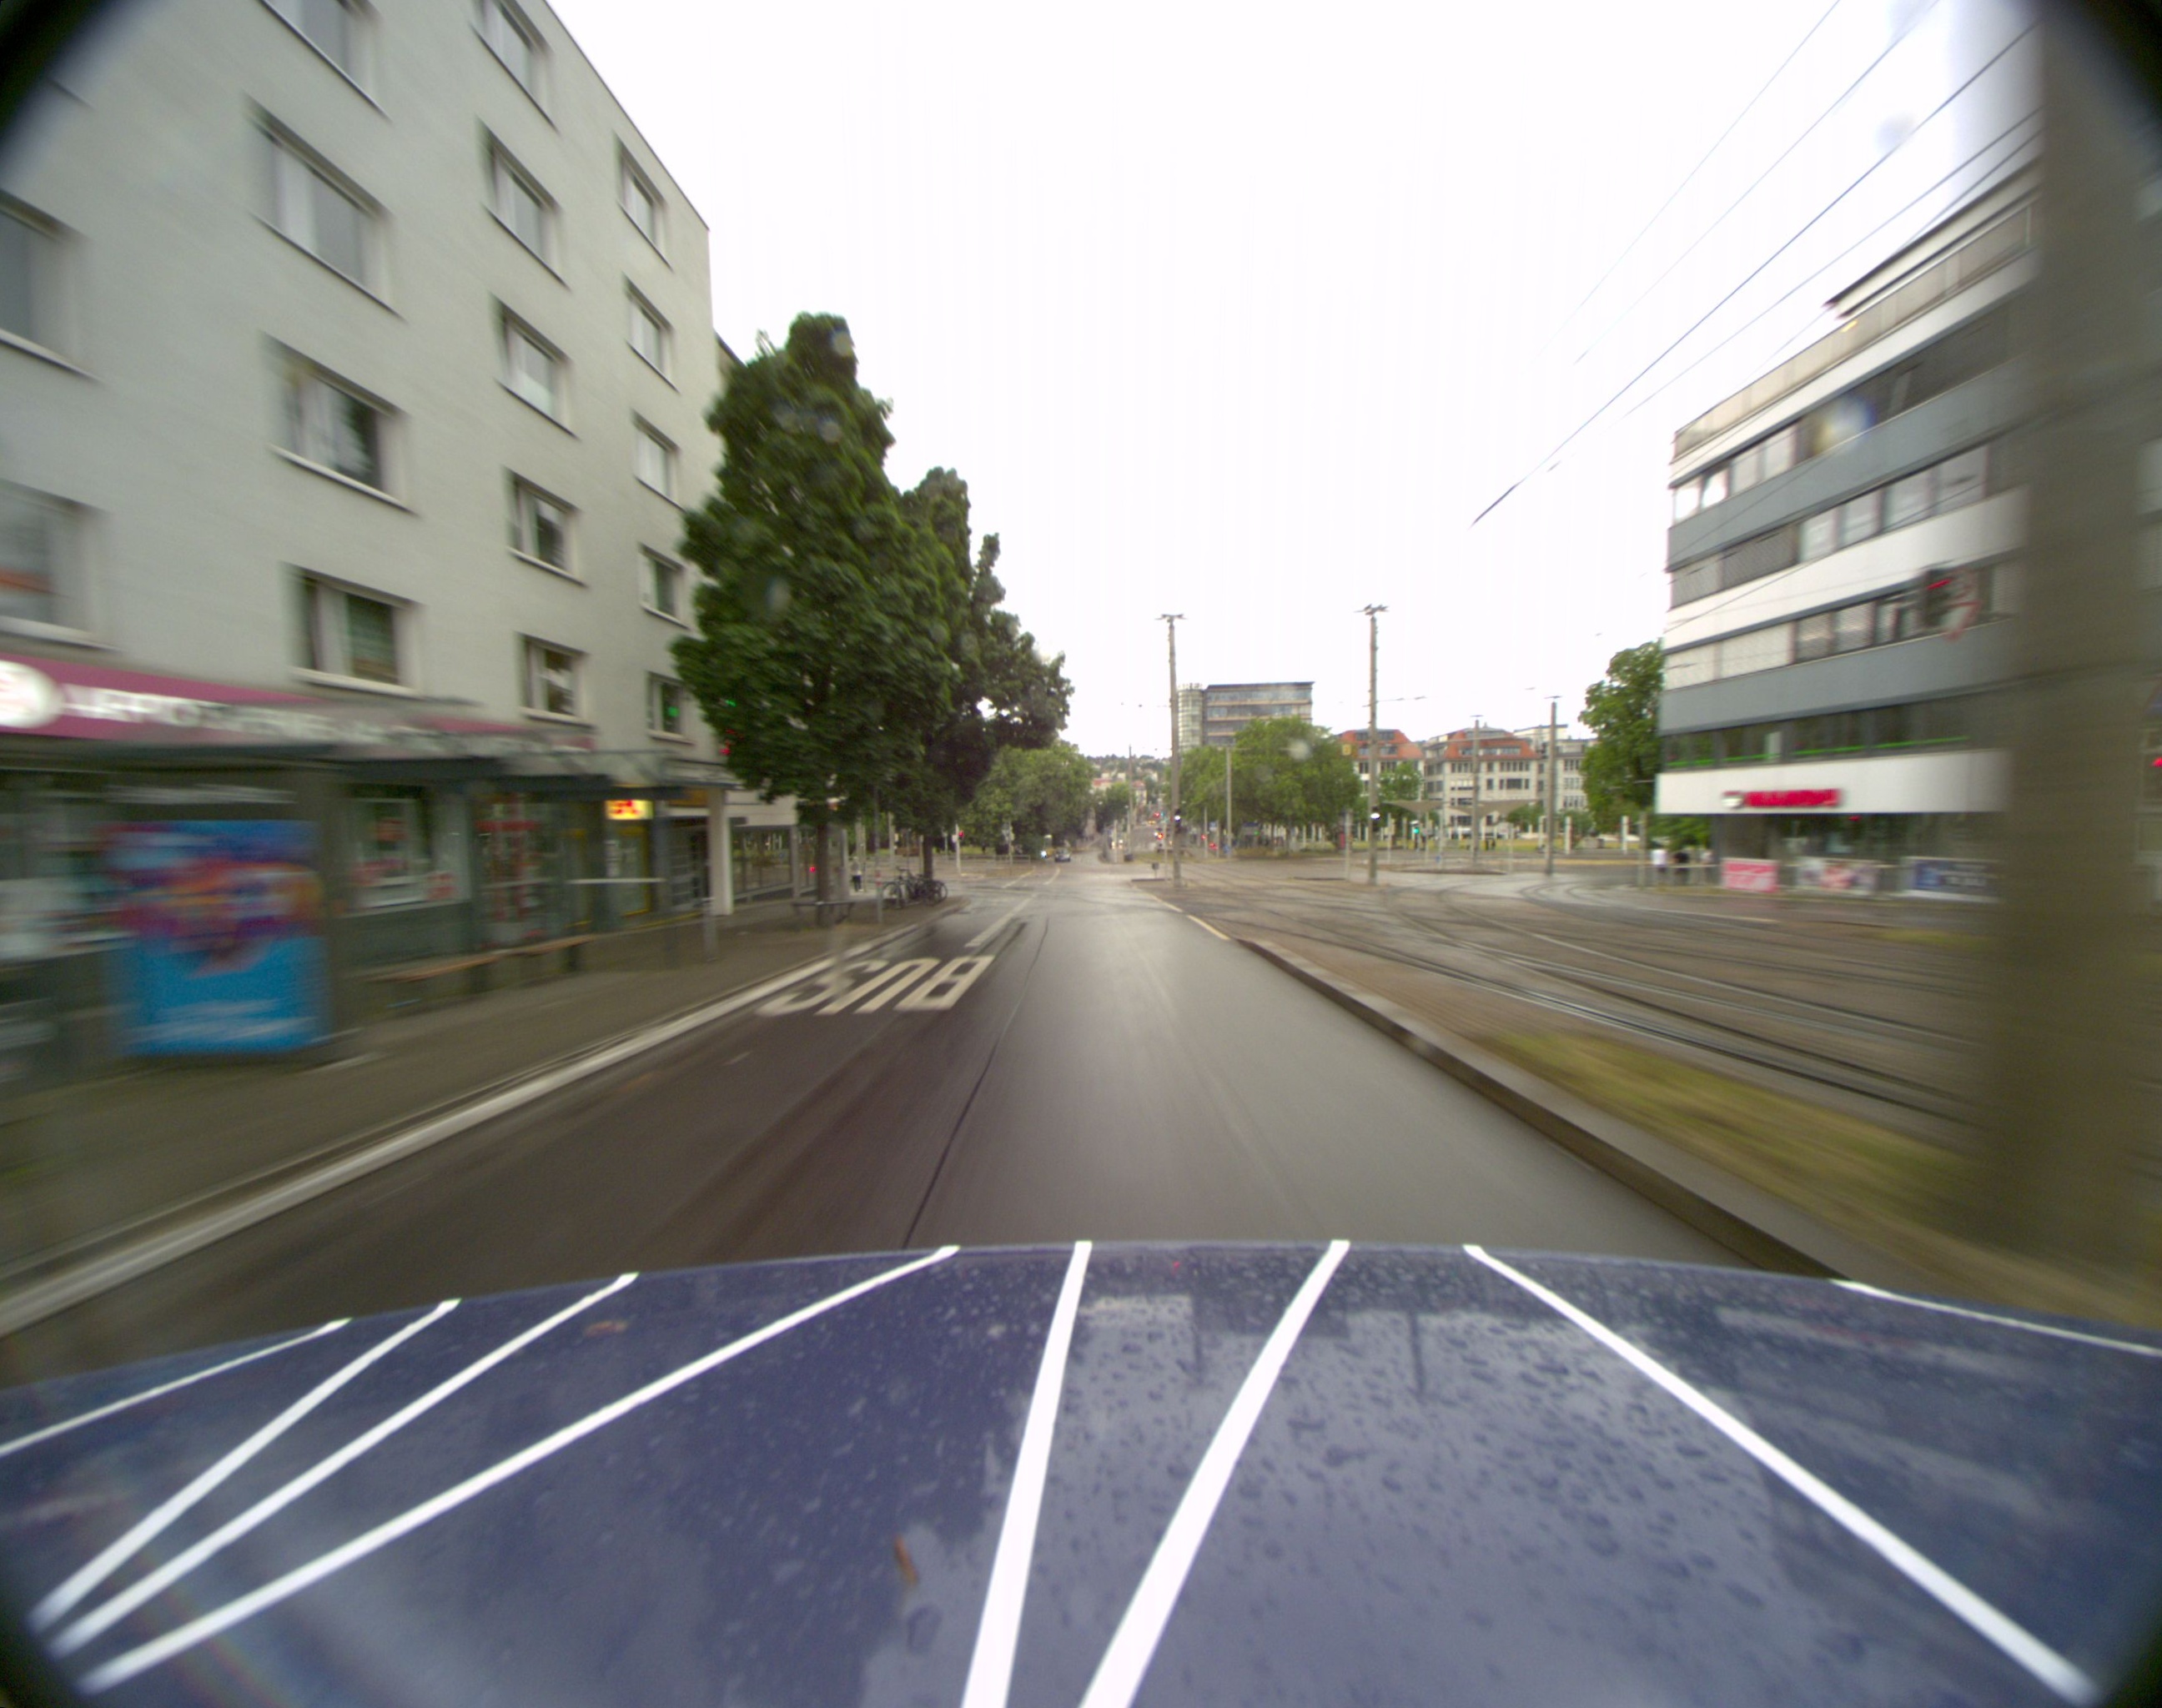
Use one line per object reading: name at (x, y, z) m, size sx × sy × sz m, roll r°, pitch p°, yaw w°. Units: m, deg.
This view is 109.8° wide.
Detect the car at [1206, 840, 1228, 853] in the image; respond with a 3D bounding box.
car at (17.254, -1.019, 96.511) m, size 2.104 × 1.497 × 4.730 m, roll -1°, pitch 2°, yaw 2°

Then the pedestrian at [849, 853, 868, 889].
pedestrian at (-10.649, 0.820, 36.429) m, size 0.703 × 1.703 × 0.529 m, roll 1°, pitch 3°, yaw 42°

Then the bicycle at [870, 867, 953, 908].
bicycle at (-5.134, 1.007, 23.055) m, size 2.321 × 1.167 × 0.649 m, roll -1°, pitch 2°, yaw 4°

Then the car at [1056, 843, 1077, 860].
car at (-1.524, -0.306, 83.050) m, size 1.998 × 1.696 × 3.999 m, roll -1°, pitch 2°, yaw 2°

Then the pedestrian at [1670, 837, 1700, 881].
pedestrian at (26.281, 0.210, 33.070) m, size 0.719 × 1.903 × 0.698 m, roll -1°, pitch 2°, yaw 0°

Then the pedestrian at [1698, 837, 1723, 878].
pedestrian at (26.901, 0.138, 32.471) m, size 0.720 × 1.752 × 0.696 m, roll -3°, pitch 3°, yaw -41°

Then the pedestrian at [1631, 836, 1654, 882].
pedestrian at (23.662, 0.196, 32.033) m, size 0.696 × 1.903 × 0.720 m, roll 1°, pitch 3°, yaw 42°

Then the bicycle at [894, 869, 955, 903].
bicycle at (-5.136, 1.039, 24.958) m, size 1.820 × 1.085 × 0.649 m, roll -1°, pitch 0°, yaw 4°
